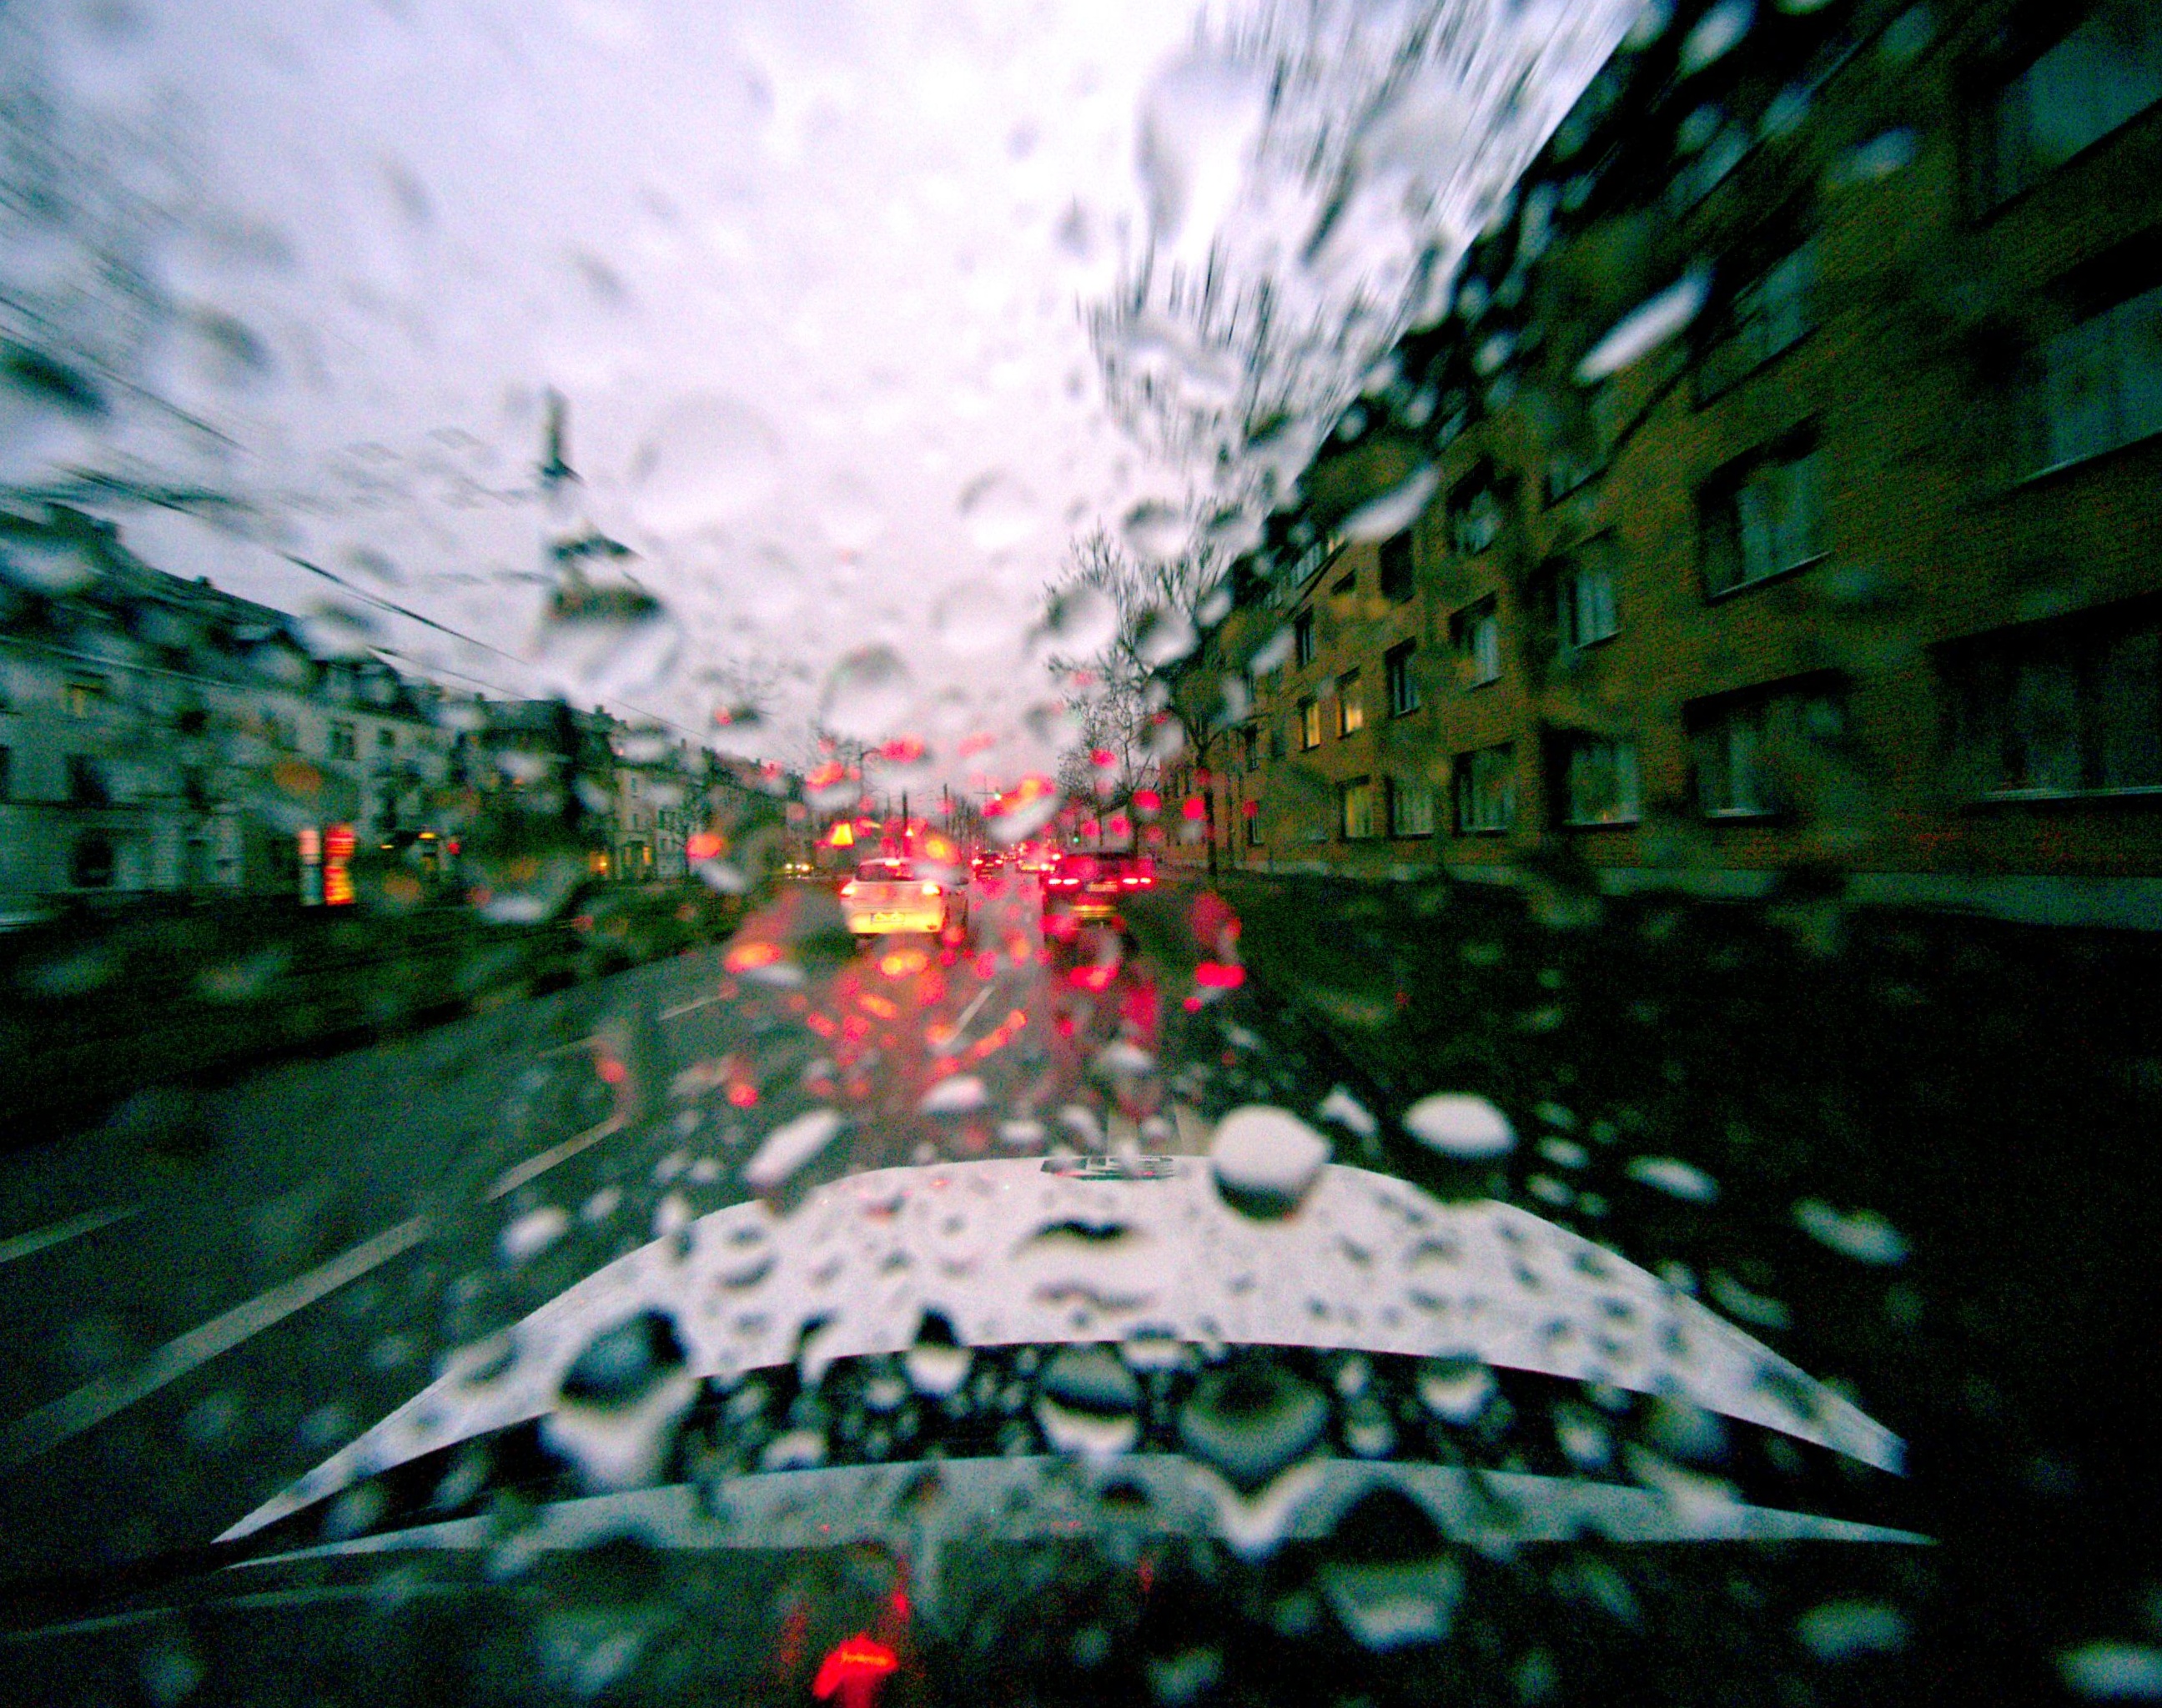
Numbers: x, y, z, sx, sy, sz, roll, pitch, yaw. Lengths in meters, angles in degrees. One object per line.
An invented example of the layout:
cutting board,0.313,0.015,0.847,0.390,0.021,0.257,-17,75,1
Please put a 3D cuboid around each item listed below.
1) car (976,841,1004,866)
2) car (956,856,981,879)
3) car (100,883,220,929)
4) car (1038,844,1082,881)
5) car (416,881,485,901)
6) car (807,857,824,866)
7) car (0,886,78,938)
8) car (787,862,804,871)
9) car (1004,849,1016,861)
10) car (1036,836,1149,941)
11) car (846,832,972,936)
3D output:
car,-6.020,-0.031,54.144,1.669,1.600,4.047,-1,0,-4
car,-10.769,1.290,77.862,1.989,2.013,3.995,-2,0,-4
car,-30.581,1.703,27.015,3.948,1.332,2.013,-2,0,33
car,-1.136,0.397,41.841,1.990,1.744,3.994,-2,0,-4
car,-51.959,3.063,67.197,3.988,1.420,1.993,-1,0,-11
car,-41.970,1.146,128.783,1.773,1.354,3.550,-2,1,-6
car,-30.866,1.684,23.455,3.948,1.332,2.013,-2,0,33
car,-45.370,1.949,129.493,1.773,1.354,3.550,-2,1,-6
car,-12.703,0.247,145.354,1.989,2.013,3.995,-3,0,-3
car,0.071,0.532,14.732,1.669,1.600,4.047,-1,0,-4
car,-2.957,0.467,14.730,1.669,1.600,4.047,-1,0,-4
